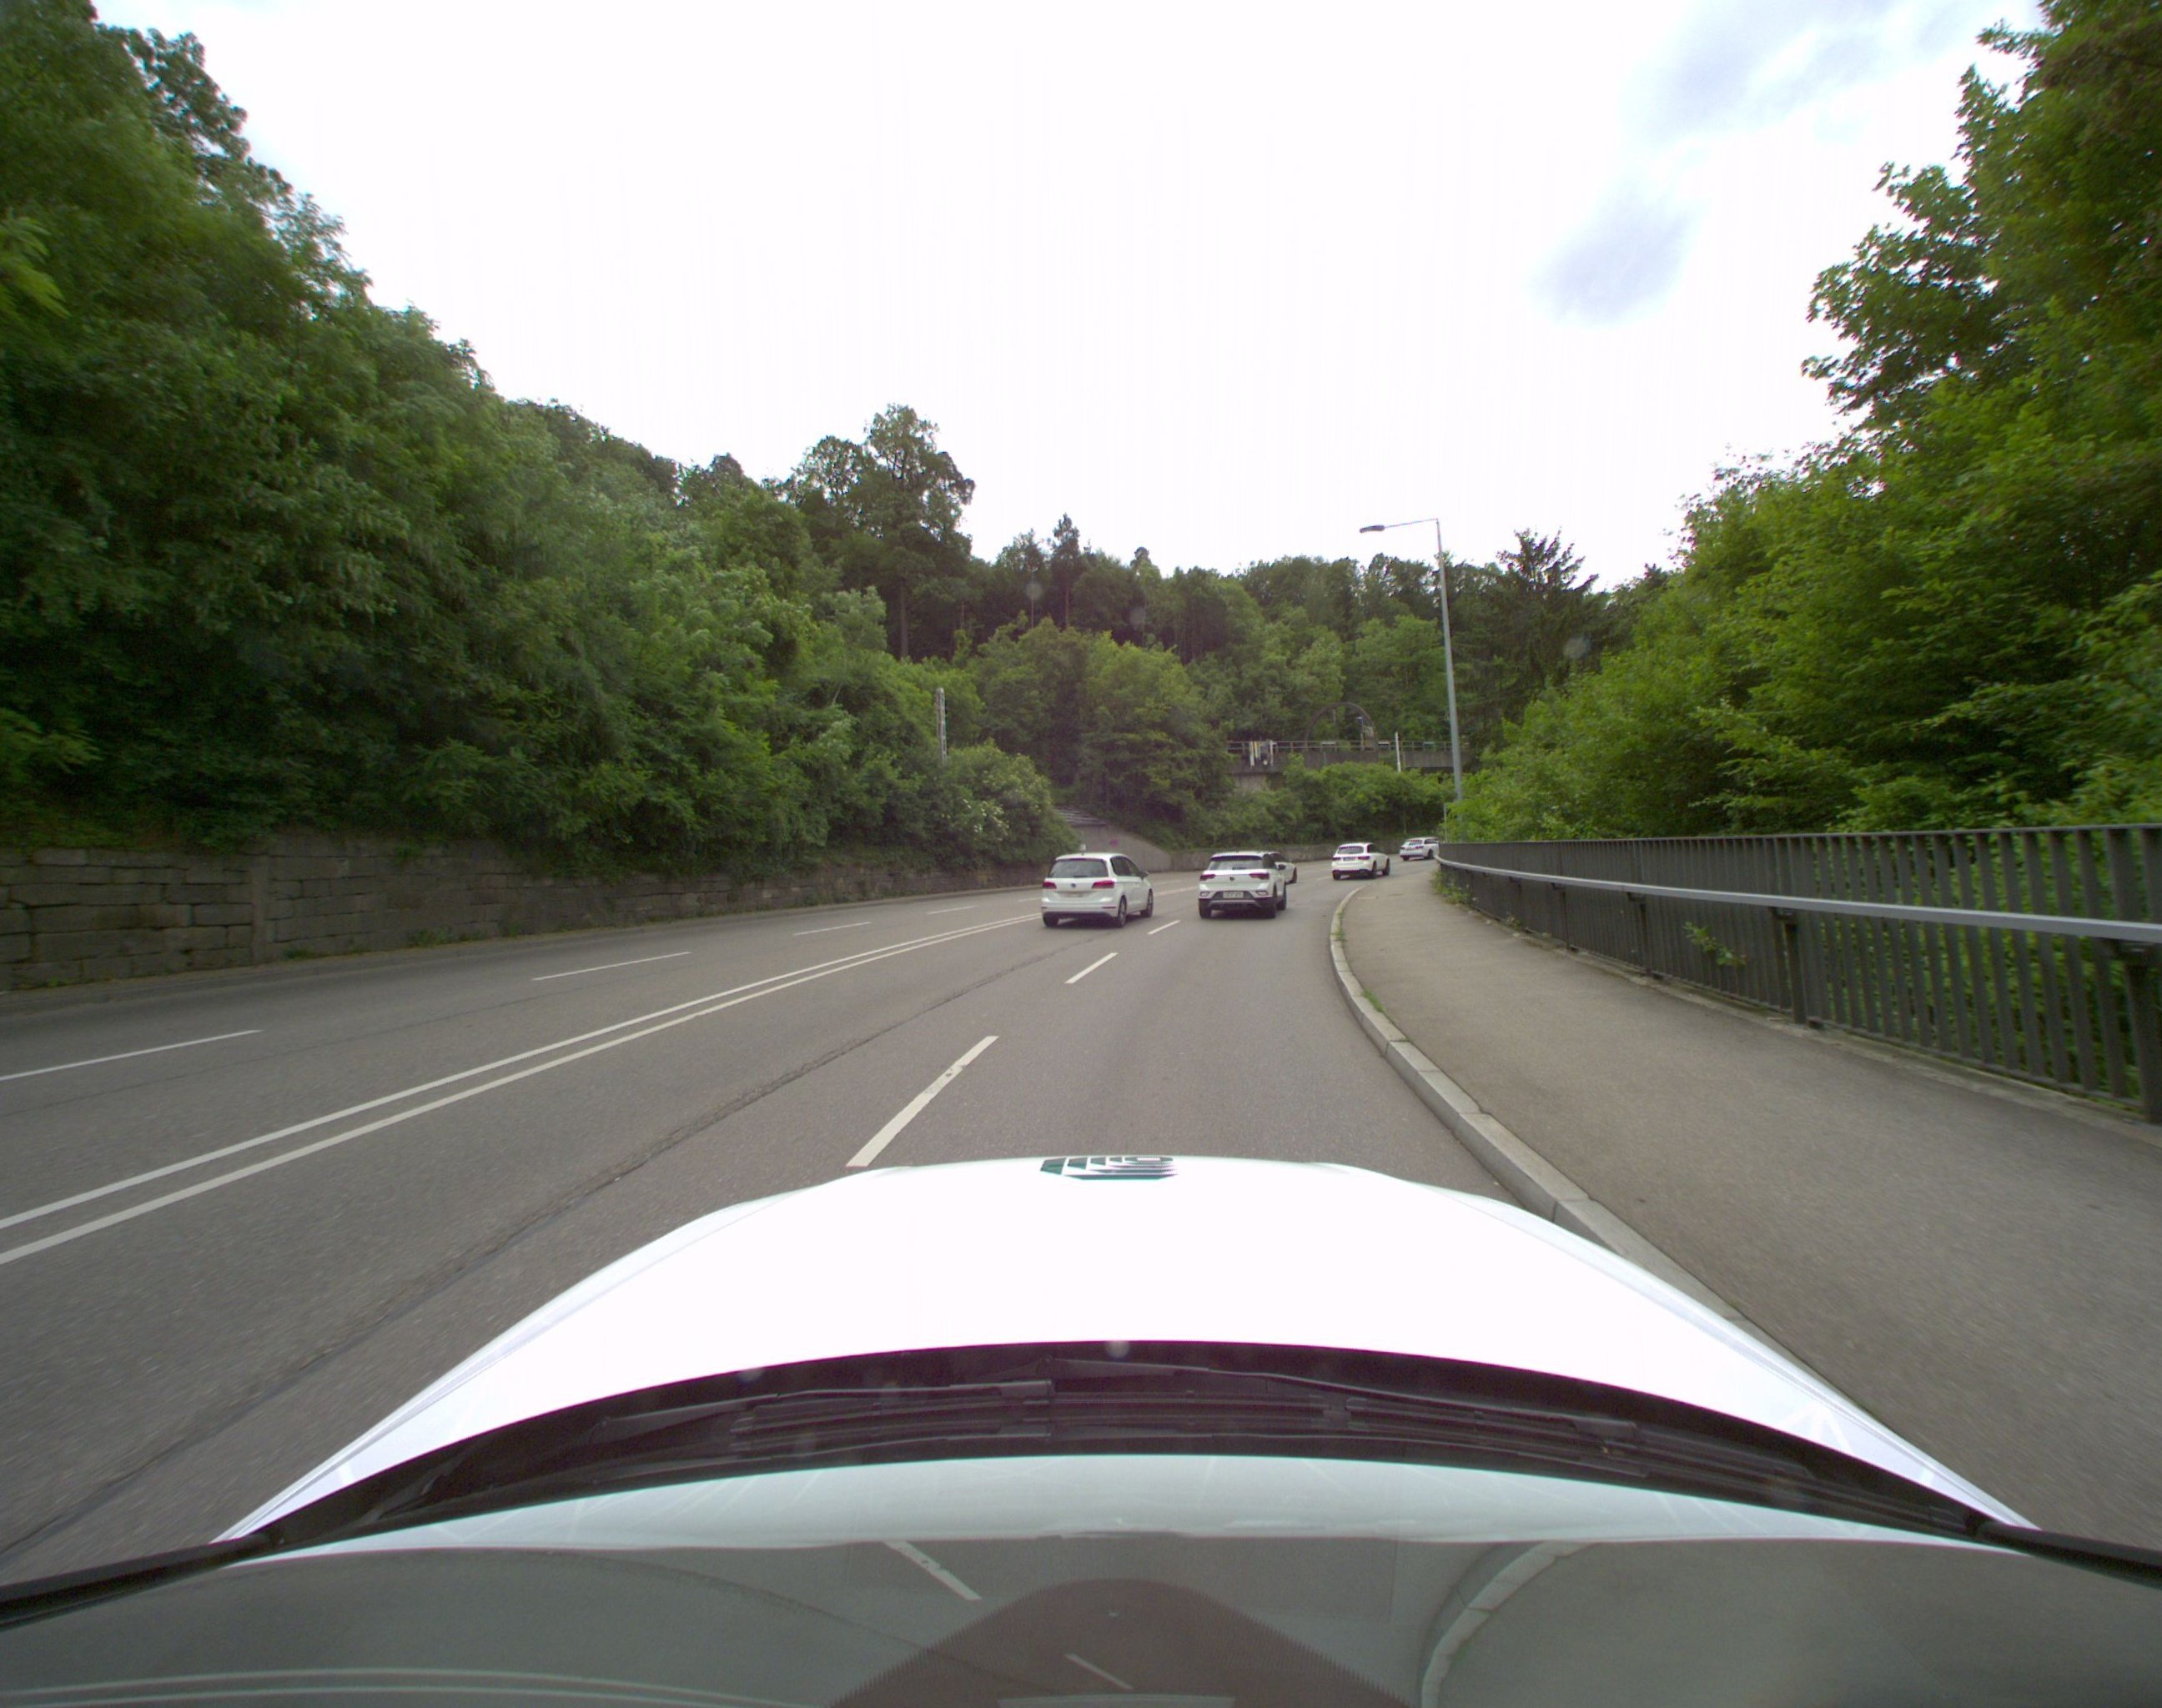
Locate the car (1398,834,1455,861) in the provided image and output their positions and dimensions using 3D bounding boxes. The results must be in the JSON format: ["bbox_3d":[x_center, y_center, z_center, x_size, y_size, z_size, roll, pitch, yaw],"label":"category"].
[{"bbox_3d":[22.893,-0.395,53.884,4.330,1.519,1.726,3,-3,-40],"label":"car"}]

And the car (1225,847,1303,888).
[{"bbox_3d":[7.876,0.527,34.708,1.975,1.557,4.710,2,1,29],"label":"car"}]

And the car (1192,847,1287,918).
[{"bbox_3d":[4.029,0.674,20.157,1.799,1.539,4.026,-2,-1,18],"label":"car"}]

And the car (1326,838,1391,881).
[{"bbox_3d":[12.957,0.297,37.910,1.974,1.844,4.175,0,-3,32],"label":"car"}]

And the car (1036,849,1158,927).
[{"bbox_3d":[0.495,0.734,18.633,1.707,1.554,4.293,0,-1,16],"label":"car"}]
